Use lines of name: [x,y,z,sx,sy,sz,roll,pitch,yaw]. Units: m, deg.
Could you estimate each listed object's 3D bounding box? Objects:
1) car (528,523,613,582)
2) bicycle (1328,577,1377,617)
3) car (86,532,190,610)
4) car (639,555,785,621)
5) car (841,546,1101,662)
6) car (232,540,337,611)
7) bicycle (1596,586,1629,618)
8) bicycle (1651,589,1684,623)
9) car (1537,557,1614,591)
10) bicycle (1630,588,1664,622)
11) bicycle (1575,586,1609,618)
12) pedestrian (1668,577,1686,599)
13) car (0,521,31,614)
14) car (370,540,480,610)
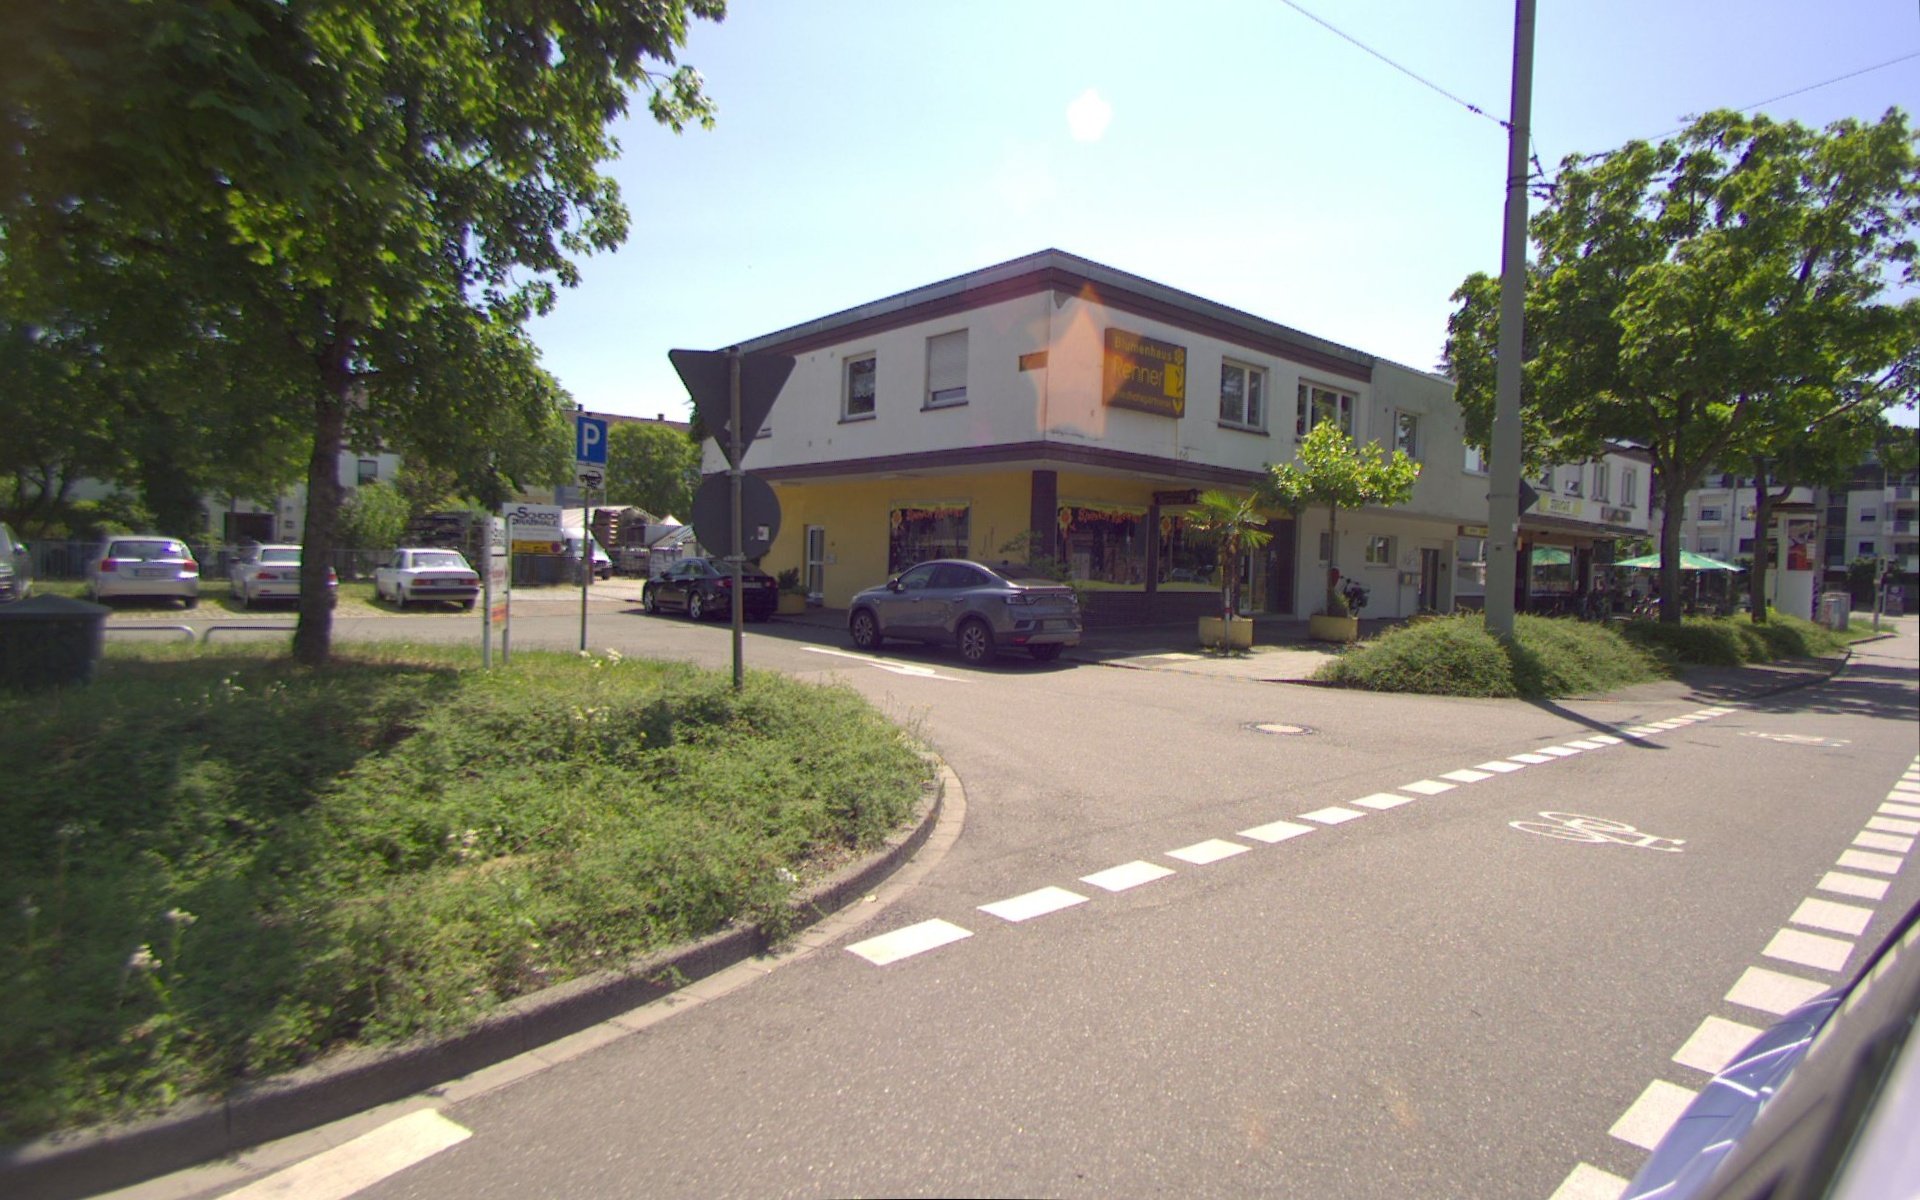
car: [-17.391,-2.118,45.022,1.965,2.443,5.083,0,2,-40]
bicycle: [11.063,-0.099,28.498,0.542,1.081,1.870,3,3,45]
car: [-17.674,-0.669,21.789,1.603,1.461,3.991,0,4,-39]
car: [-5.912,-0.333,23.838,1.717,1.391,4.149,0,2,-39]
car: [0.069,-0.029,16.501,1.912,1.630,4.144,0,3,-43]
car: [-15.353,-0.600,22.921,1.603,1.386,3.991,0,4,-39]
bicycle: [22.799,0.061,35.361,0.542,1.081,1.989,3,3,45]
bicycle: [23.782,0.187,34.011,0.542,1.081,1.989,3,3,45]
car: [53.007,-2.248,87.257,1.966,2.761,5.200,0,3,-41]
bicycle: [23.392,0.160,34.448,0.542,1.081,1.989,3,3,45]
bicycle: [22.355,0.049,35.771,0.542,1.081,1.989,3,3,45]
pedestrian: [54.696,-0.893,77.204,0.925,1.645,0.808,0,2,-35]
car: [-19.033,-0.692,19.350,1.638,1.620,3.991,0,4,-39]
car: [-13.041,-0.641,24.539,1.603,1.454,3.991,0,4,-39]
